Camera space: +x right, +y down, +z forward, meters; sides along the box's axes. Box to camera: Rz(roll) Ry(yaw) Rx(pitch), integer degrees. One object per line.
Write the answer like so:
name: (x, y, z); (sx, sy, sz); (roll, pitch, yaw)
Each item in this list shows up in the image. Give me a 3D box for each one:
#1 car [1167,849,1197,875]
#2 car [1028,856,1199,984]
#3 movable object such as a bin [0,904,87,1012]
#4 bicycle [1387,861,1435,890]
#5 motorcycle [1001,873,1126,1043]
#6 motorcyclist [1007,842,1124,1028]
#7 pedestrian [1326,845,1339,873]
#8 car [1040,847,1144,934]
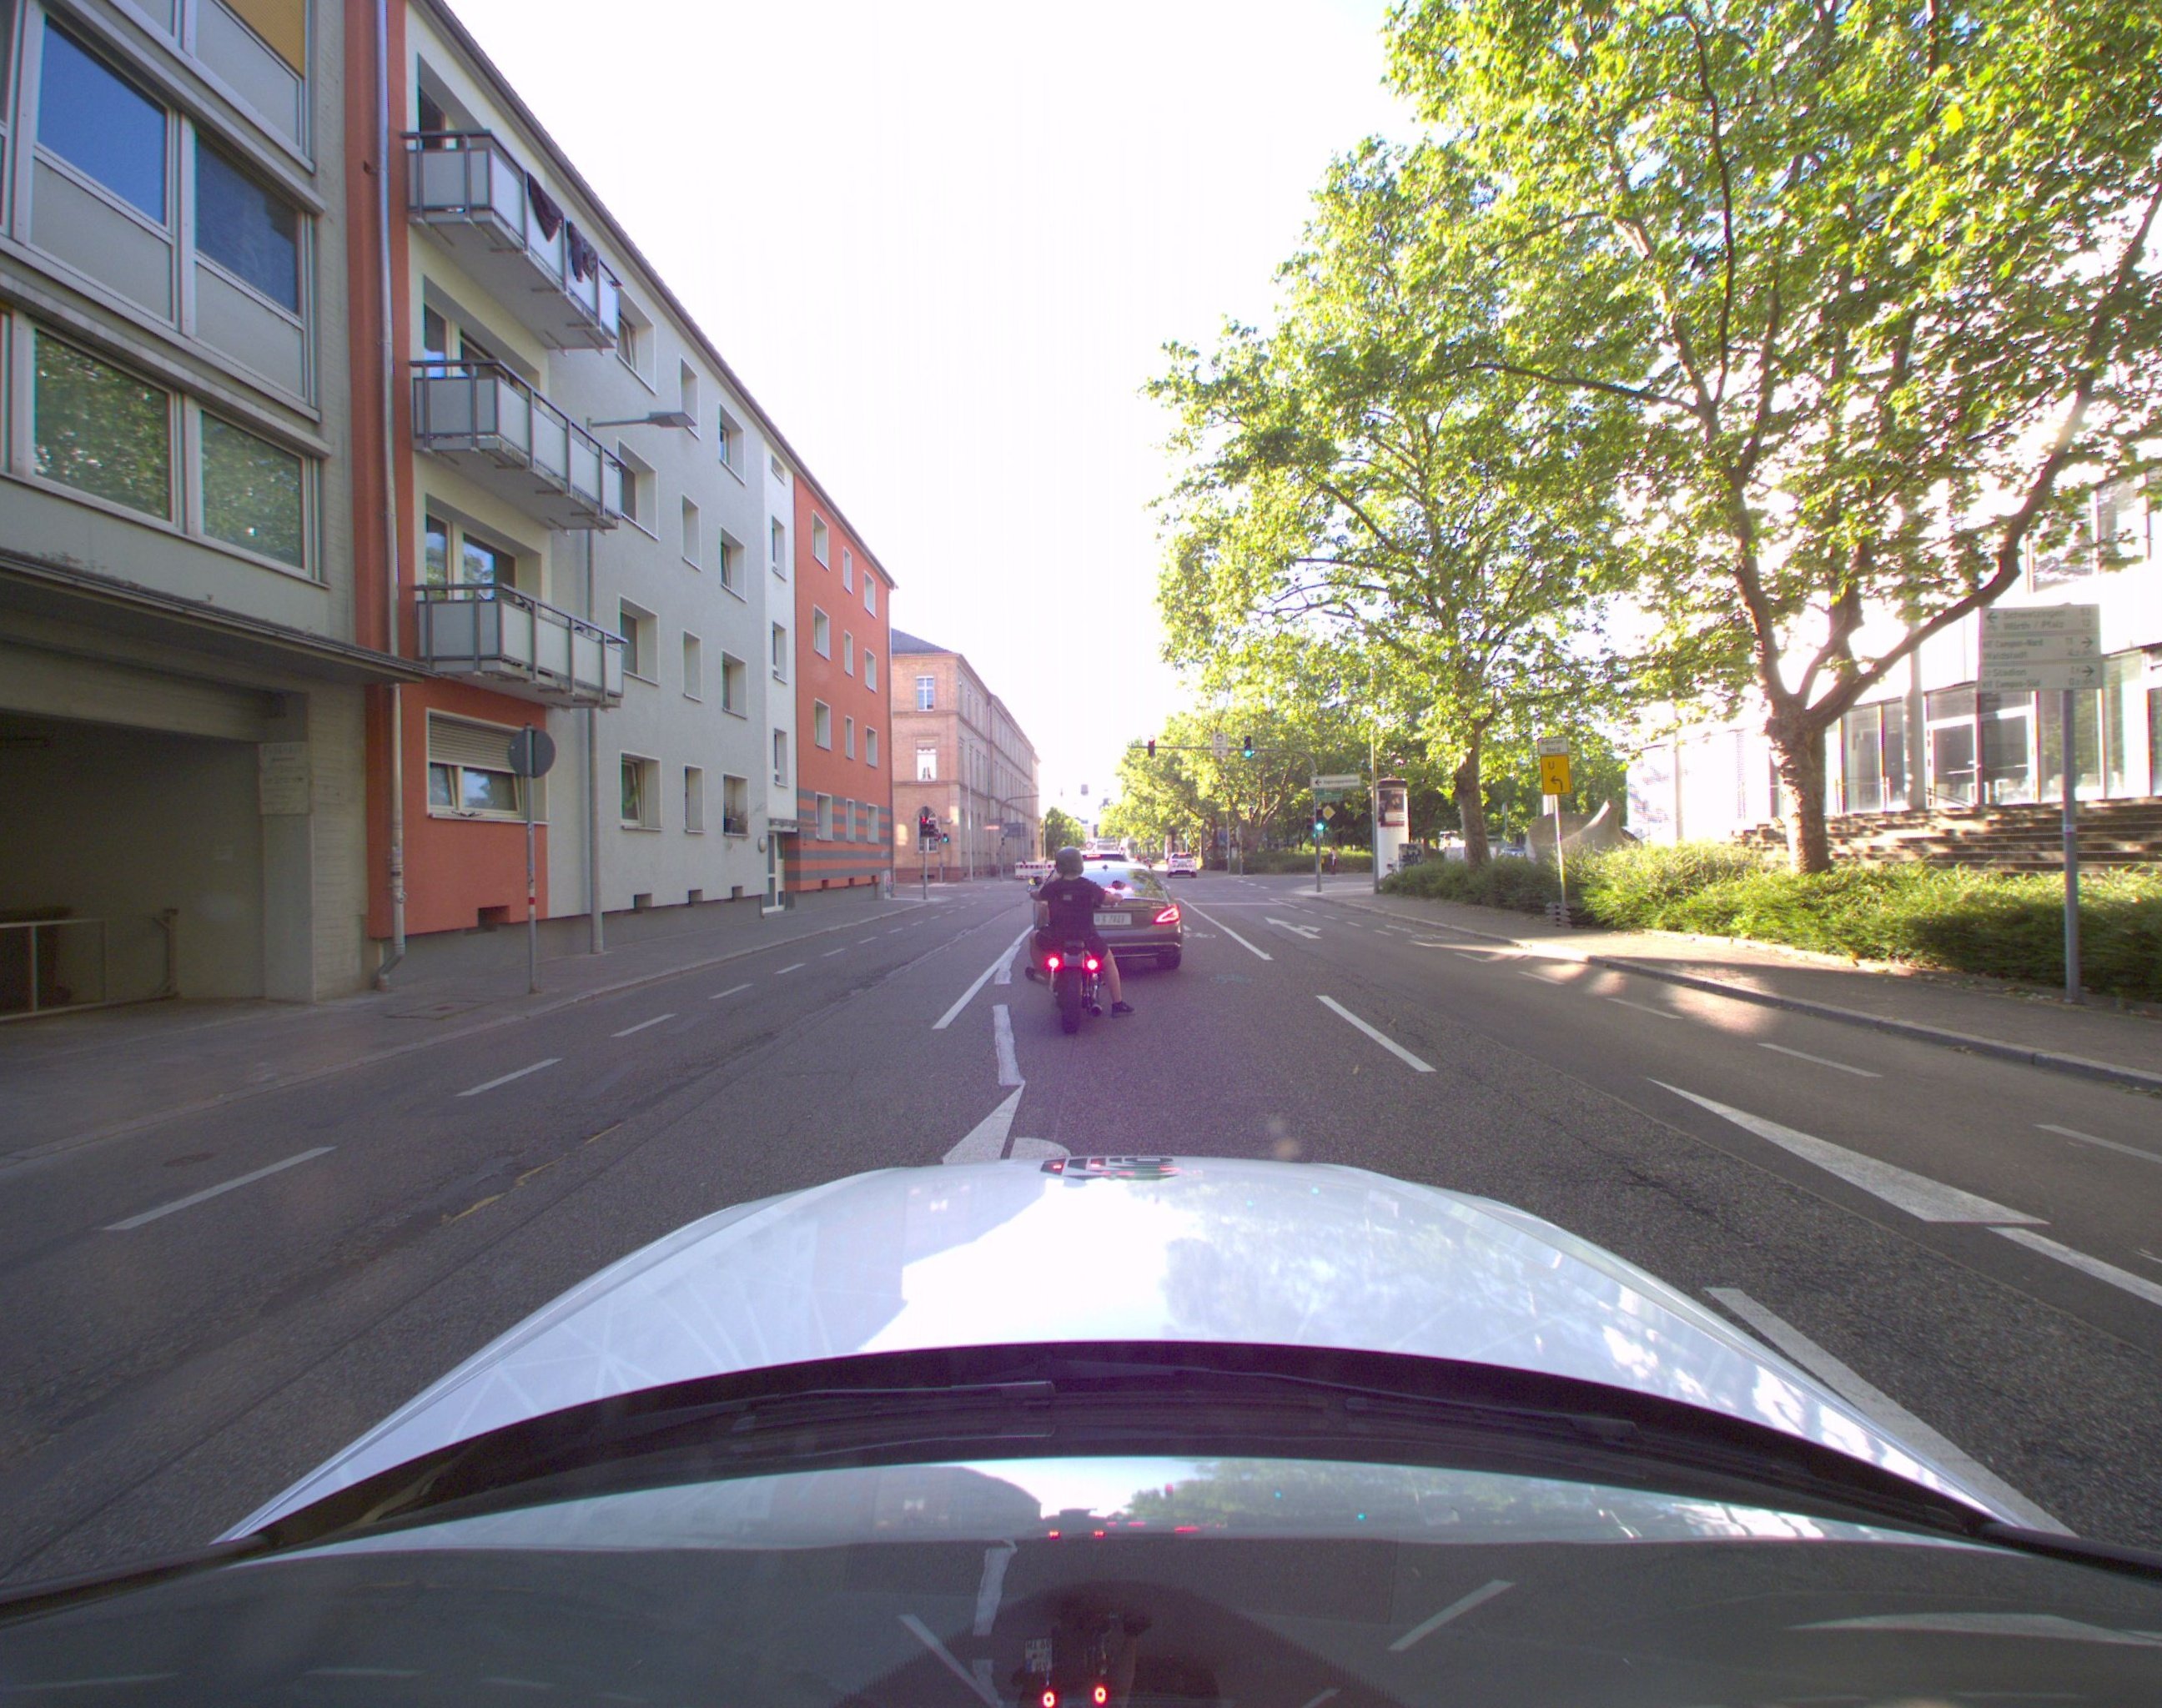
car: (6.864, 0.506, 54.883); (1.932, 1.708, 4.493); (0, 0, 8)
car: (0.253, 0.772, 11.751); (1.867, 1.444, 4.421); (-1, 0, -6)
movable object such as a bin: (-11.299, 1.087, 8.653); (0.639, 1.065, 0.675); (-1, 0, 1)
bicycle: (11.068, 0.715, 27.330); (1.475, 0.980, 0.300); (0, -1, 7)
motorcycle: (-0.102, 0.856, 7.697); (0.977, 1.275, 2.408); (-1, 0, 2)
motorcyclist: (-0.114, 0.698, 7.626); (0.977, 1.578, 1.249); (-1, 0, 1)
pedestrian: (15.574, 0.313, 50.416); (0.671, 1.772, 0.621); (-1, -1, 31)
car: (0.279, 0.724, 17.679); (1.986, 1.665, 4.001); (0, -1, 2)
